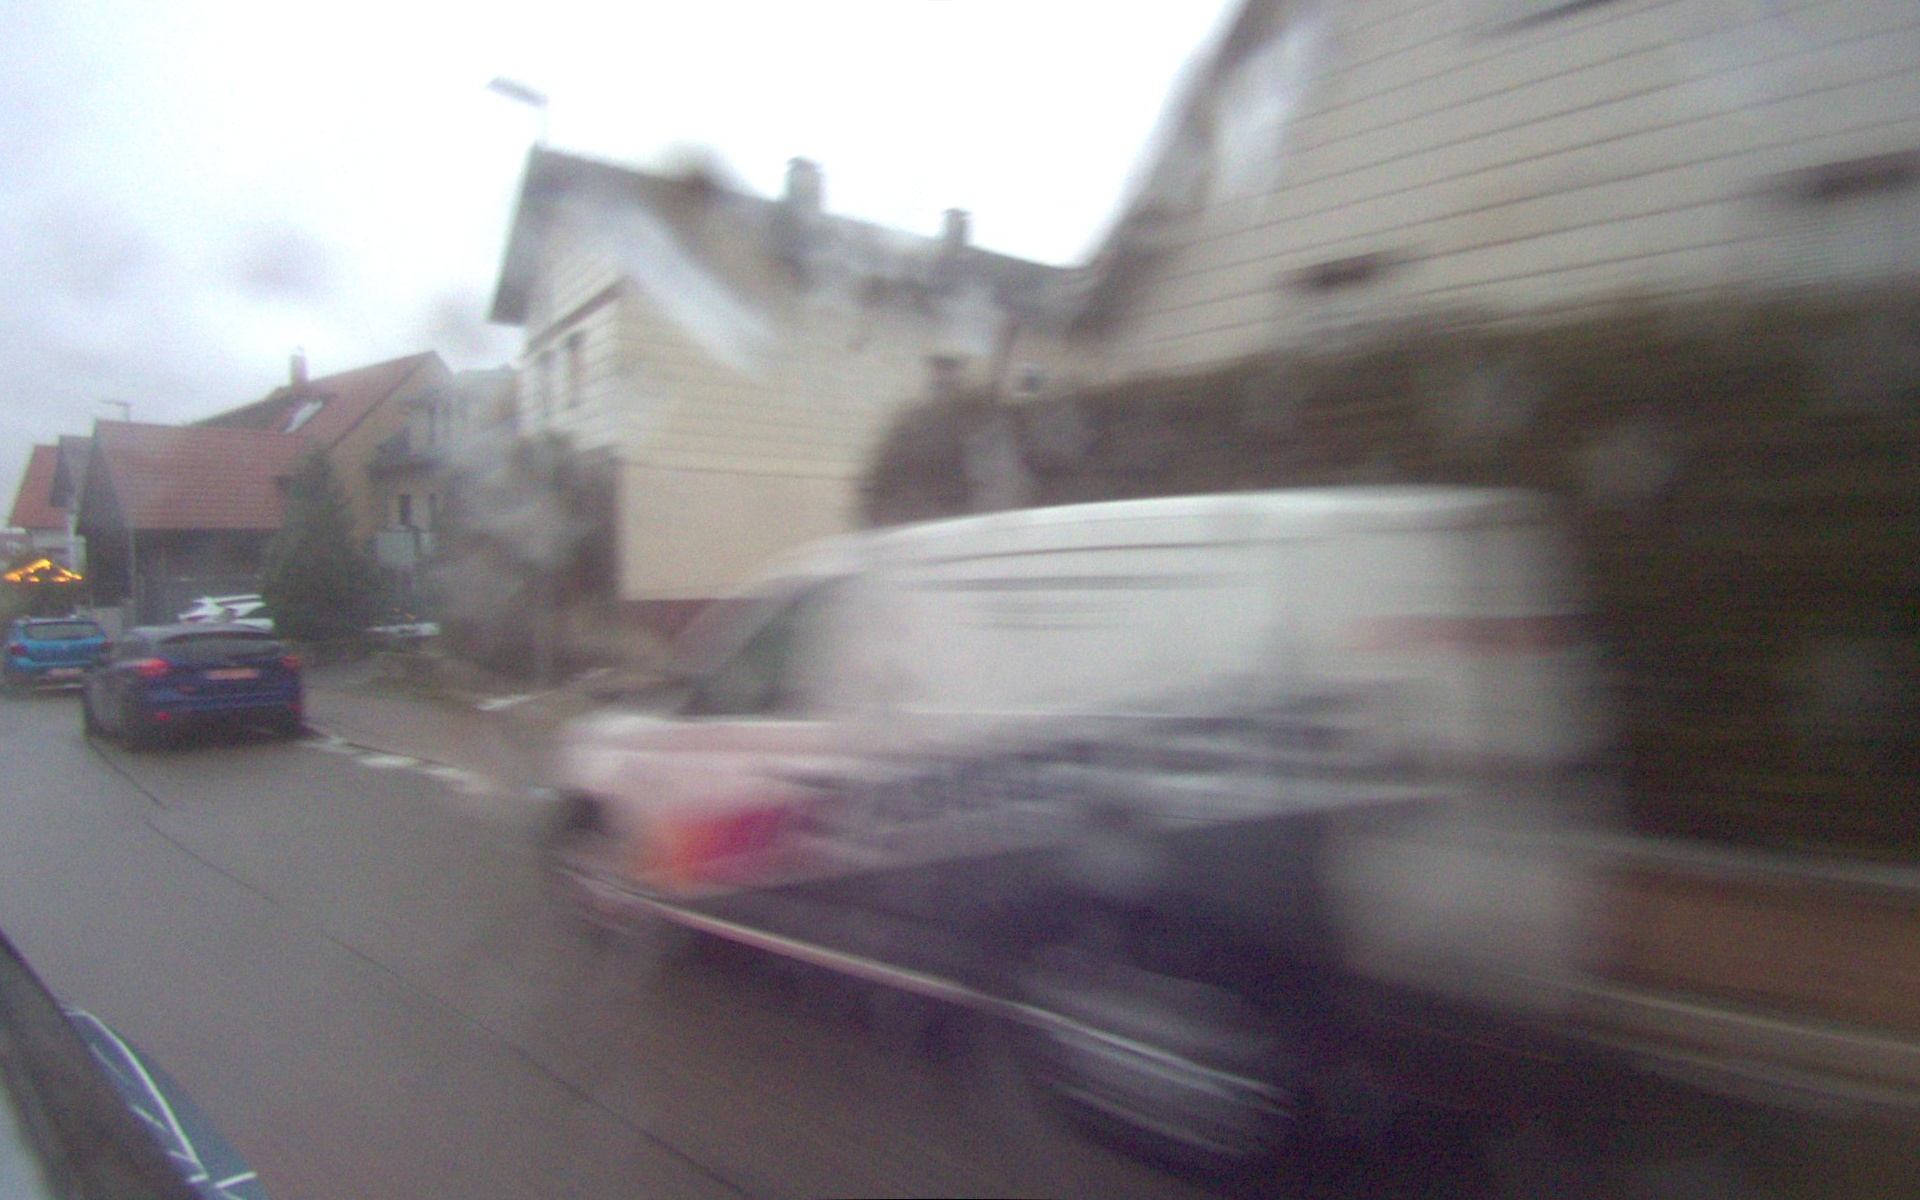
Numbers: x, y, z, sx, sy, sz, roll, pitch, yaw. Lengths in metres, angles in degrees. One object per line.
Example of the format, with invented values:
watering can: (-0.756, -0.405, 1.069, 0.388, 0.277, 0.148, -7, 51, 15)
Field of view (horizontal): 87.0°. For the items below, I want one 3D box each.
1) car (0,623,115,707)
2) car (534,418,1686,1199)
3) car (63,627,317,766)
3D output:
car: (-18.975, 1.274, 20.914, 3.998, 1.564, 1.744, -1, -1, 41)
car: (0.197, 0.595, 3.945, 4.125, 1.806, 1.753, -2, -1, 41)
car: (-9.974, 1.105, 13.017, 3.997, 1.477, 1.806, -1, -1, 41)
